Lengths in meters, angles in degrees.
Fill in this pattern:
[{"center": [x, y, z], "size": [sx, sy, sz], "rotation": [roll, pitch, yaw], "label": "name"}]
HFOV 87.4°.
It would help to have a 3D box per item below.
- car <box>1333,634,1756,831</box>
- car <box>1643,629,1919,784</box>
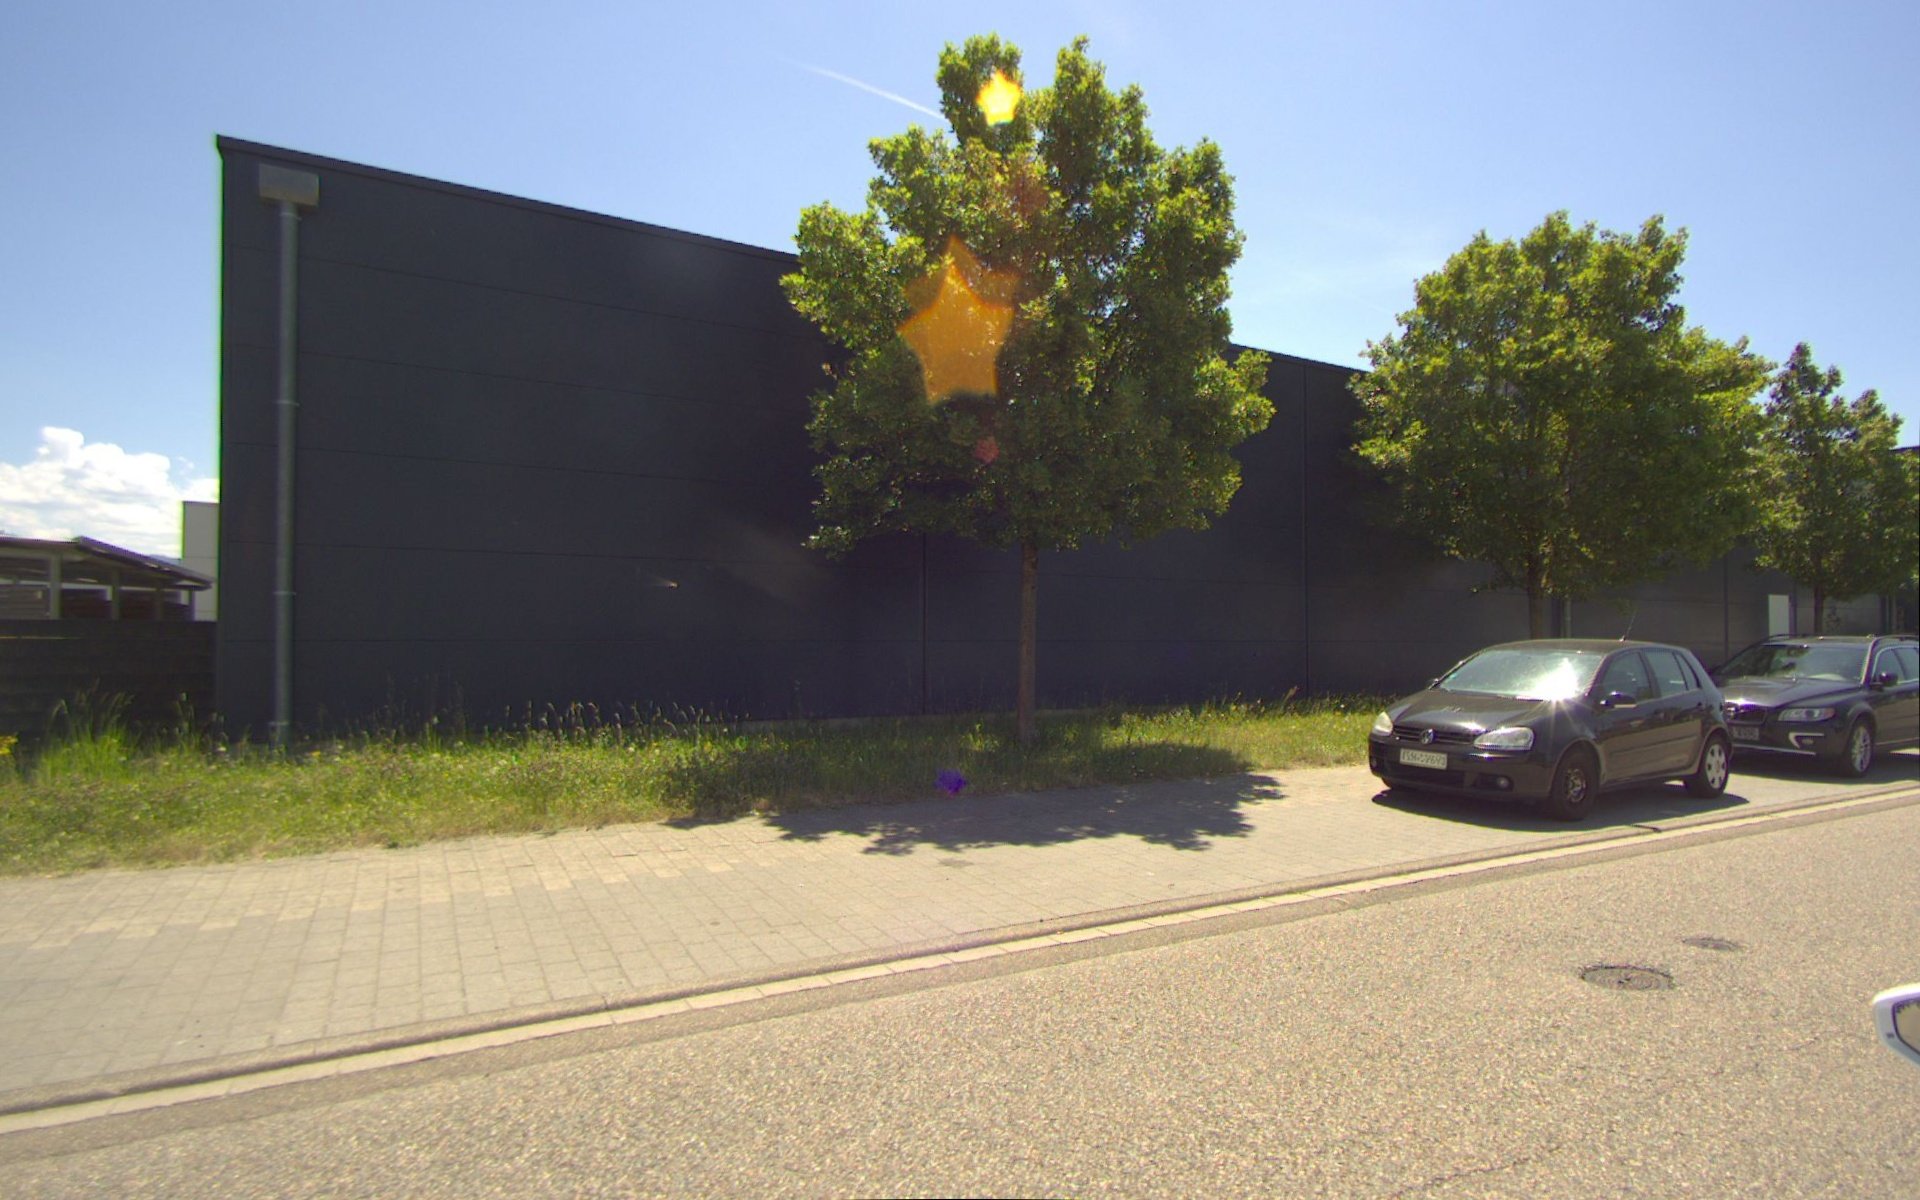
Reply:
[{"center": [5.675, 1.103, 9.628], "size": [4.154, 1.450, 1.761], "rotation": [2, 0, -32], "label": "car"}, {"center": [10.760, 1.206, 12.647], "size": [4.797, 1.633, 1.762], "rotation": [2, -2, -31], "label": "car"}]
